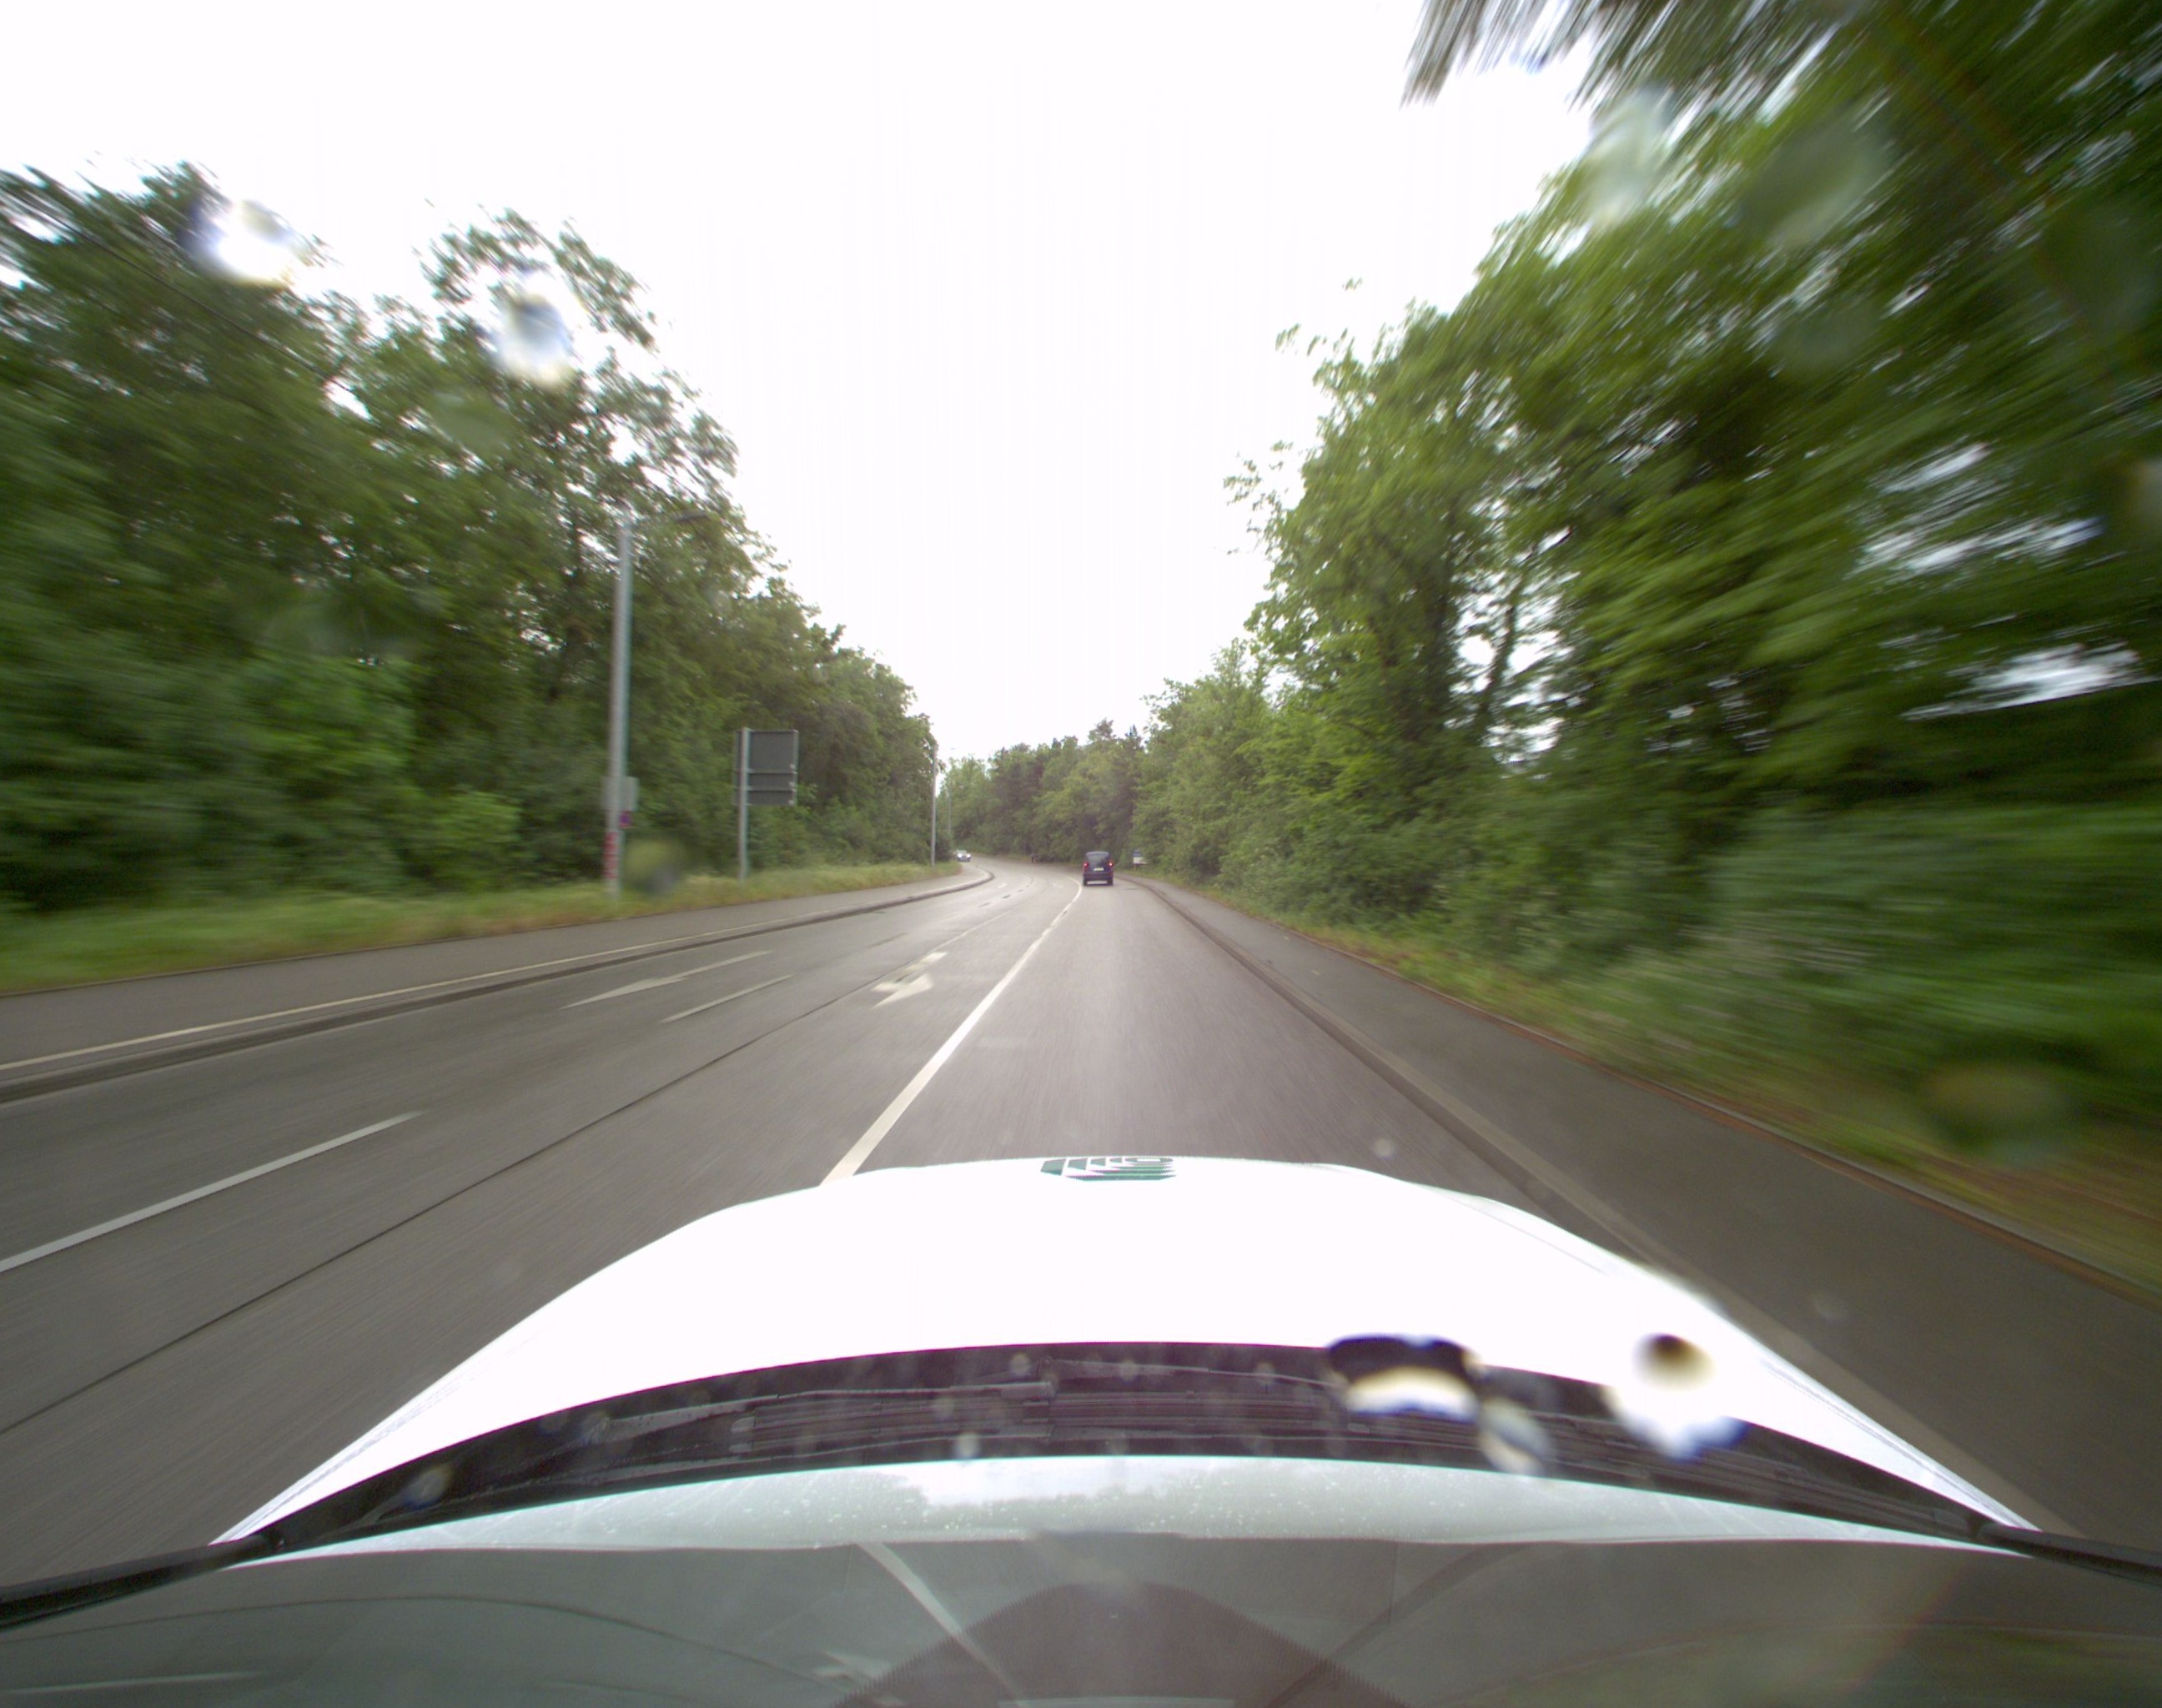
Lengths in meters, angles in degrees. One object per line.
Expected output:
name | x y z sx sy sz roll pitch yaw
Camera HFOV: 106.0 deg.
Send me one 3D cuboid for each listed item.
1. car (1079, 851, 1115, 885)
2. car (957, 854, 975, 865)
car | 0.857 0.757 45.899 1.822 1.794 3.998 -1 0 -1
car | -17.451 0.798 123.446 1.813 1.595 4.490 0 0 -18
